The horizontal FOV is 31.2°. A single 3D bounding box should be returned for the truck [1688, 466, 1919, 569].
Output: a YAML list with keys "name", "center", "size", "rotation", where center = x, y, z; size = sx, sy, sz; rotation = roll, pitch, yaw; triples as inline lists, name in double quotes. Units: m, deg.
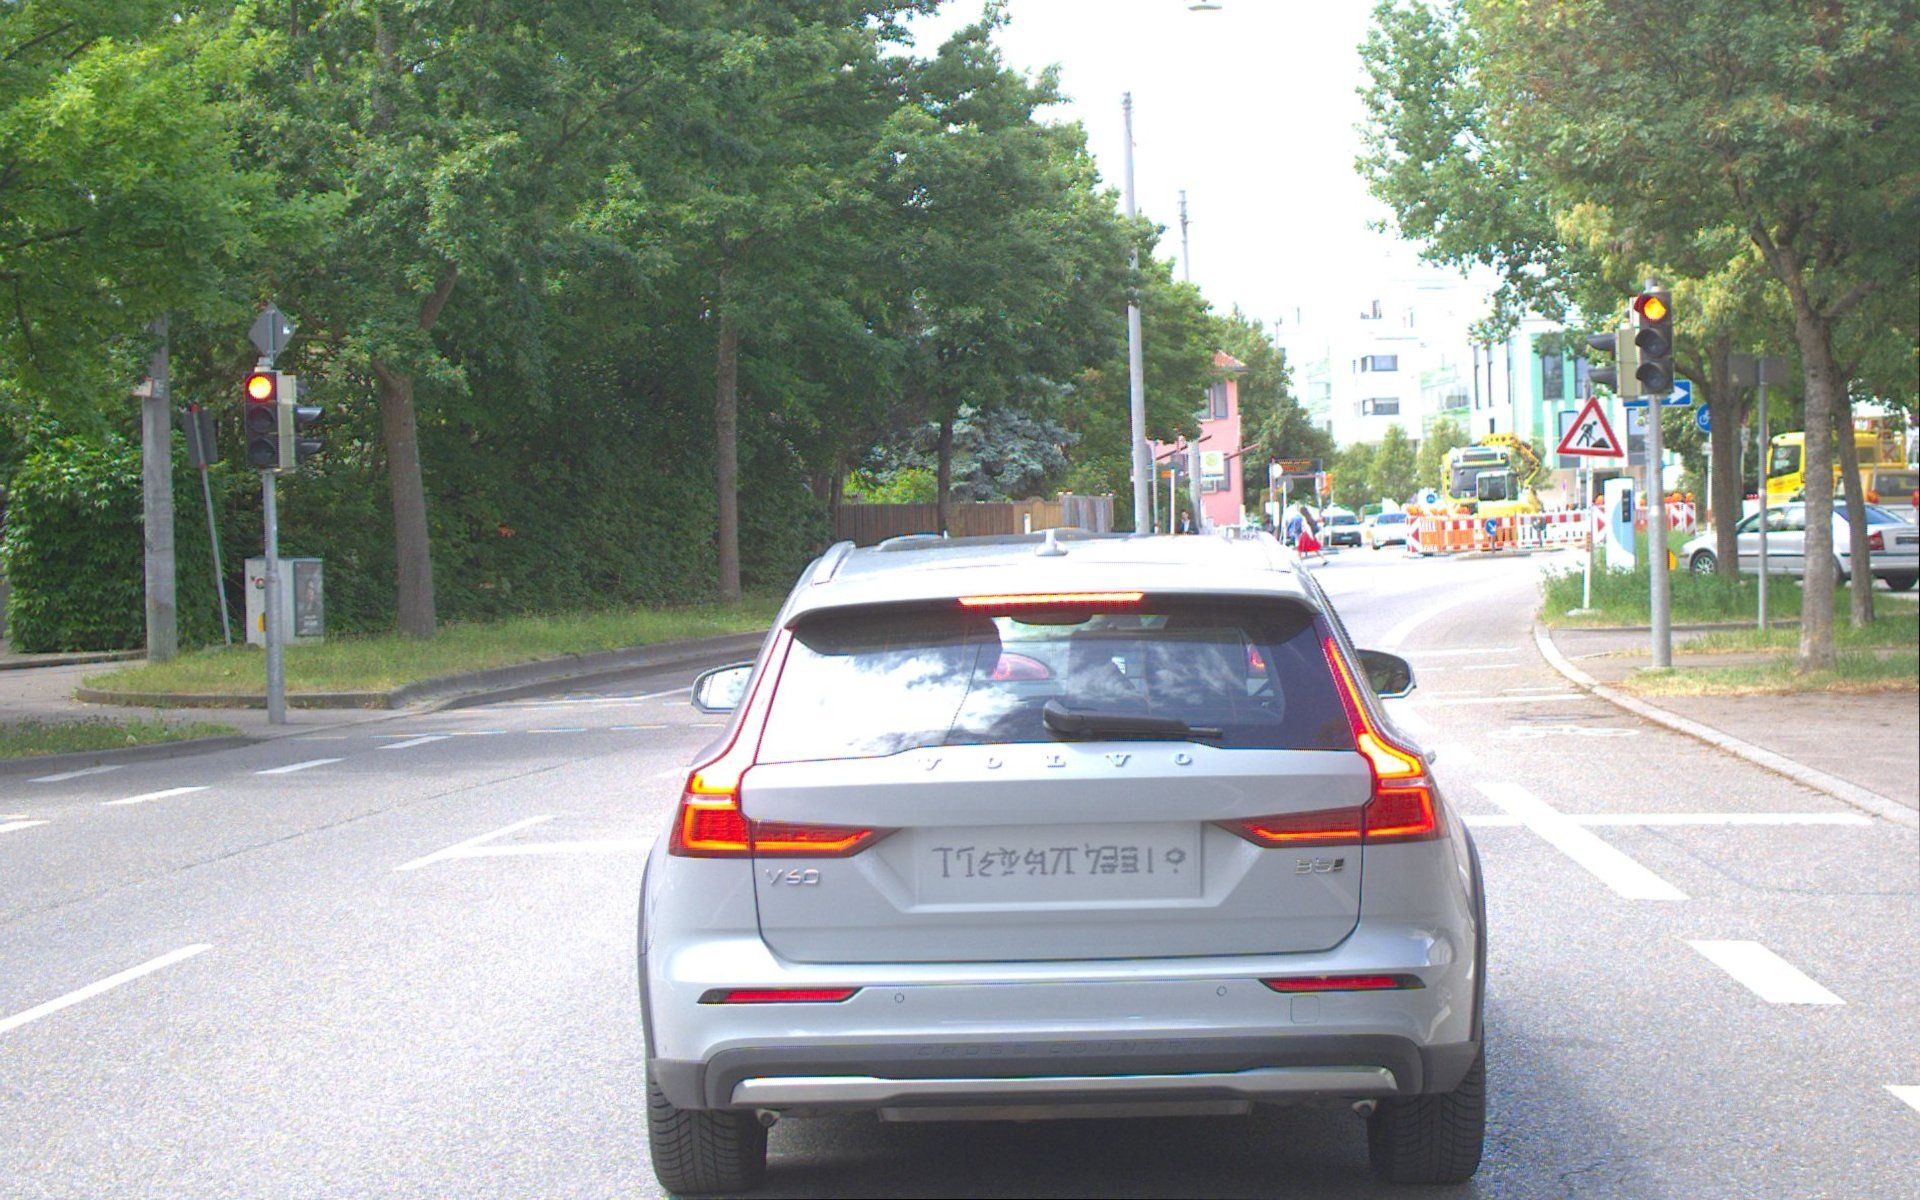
- name: "truck"
  center: [17.560, -1.663, 70.362]
  size: [1.993, 2.007, 5.678]
  rotation: [1, 1, -28]

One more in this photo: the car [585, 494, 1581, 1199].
- name: "car"
  center: [0.217, 0.553, 8.713]
  size: [1.928, 1.535, 4.000]
  rotation: [1, 1, -1]

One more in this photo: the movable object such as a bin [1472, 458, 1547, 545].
- name: "movable object such as a bin"
  center: [17.677, -3.170, 110.453]
  size: [2.035, 2.633, 5.937]
  rotation: [-2, 1, 12]

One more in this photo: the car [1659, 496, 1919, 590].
- name: "car"
  center: [13.607, -0.934, 55.617]
  size: [1.762, 1.446, 4.689]
  rotation: [-2, 2, -31]

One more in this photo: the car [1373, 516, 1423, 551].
- name: "car"
  center: [18.071, -2.727, 141.737]
  size: [1.829, 1.325, 3.998]
  rotation: [1, -1, 10]

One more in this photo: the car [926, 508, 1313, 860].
- name: "car"
  center: [0.787, 0.350, 16.876]
  size: [1.661, 1.503, 3.702]
  rotation: [1, 1, 3]

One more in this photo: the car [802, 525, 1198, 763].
- name: "car"
  center: [0.386, 0.265, 24.289]
  size: [2.103, 1.505, 3.998]
  rotation: [1, 1, 11]
